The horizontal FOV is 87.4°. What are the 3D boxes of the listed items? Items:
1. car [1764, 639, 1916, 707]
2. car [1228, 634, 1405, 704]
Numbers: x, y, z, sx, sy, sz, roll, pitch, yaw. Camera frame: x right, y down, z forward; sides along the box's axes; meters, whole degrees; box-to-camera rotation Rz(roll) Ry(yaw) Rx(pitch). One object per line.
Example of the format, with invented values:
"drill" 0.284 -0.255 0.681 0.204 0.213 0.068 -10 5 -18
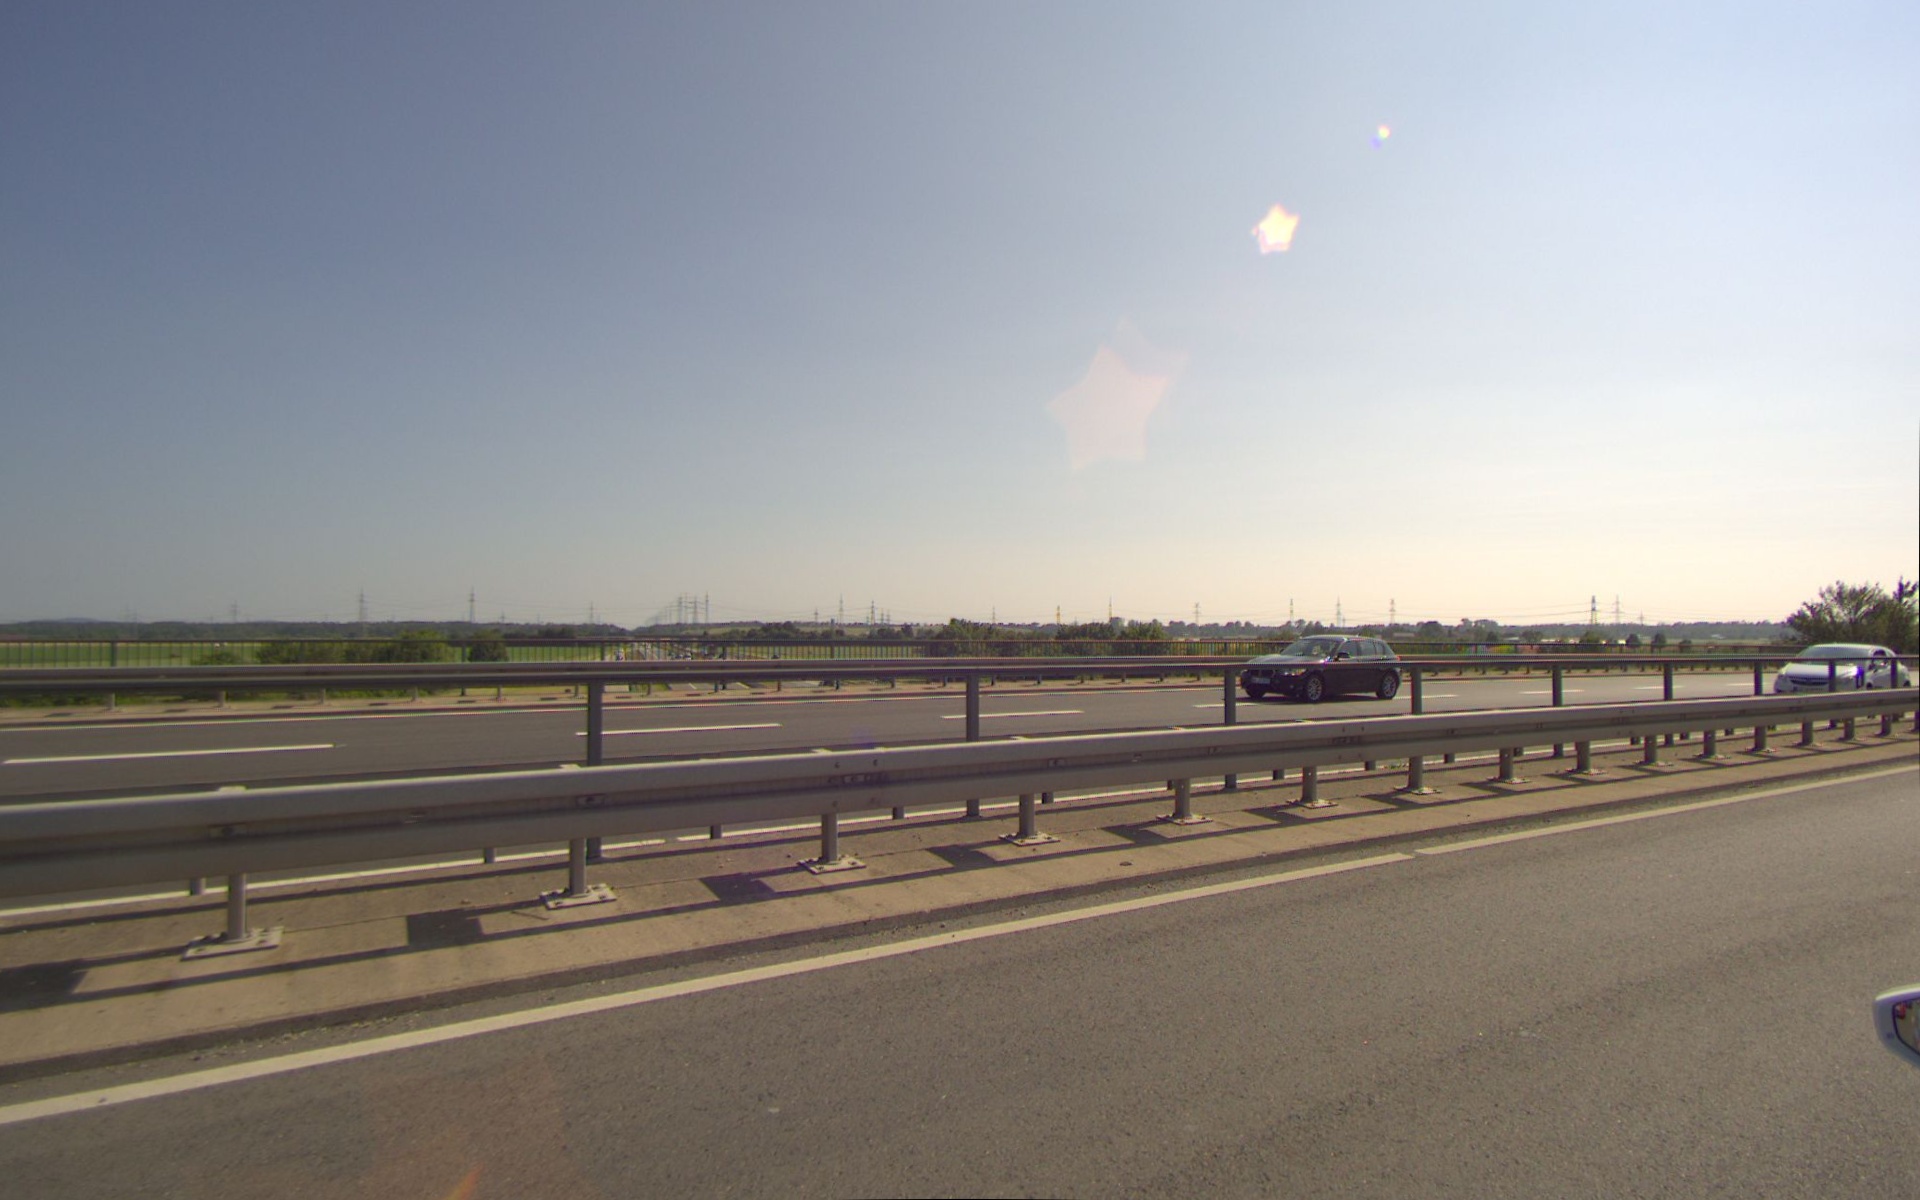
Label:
"car" 20.869 1.678 23.805 3.623 1.436 1.545 1 0 -29
"car" 8.130 1.511 22.826 3.957 1.402 1.769 1 0 -33
